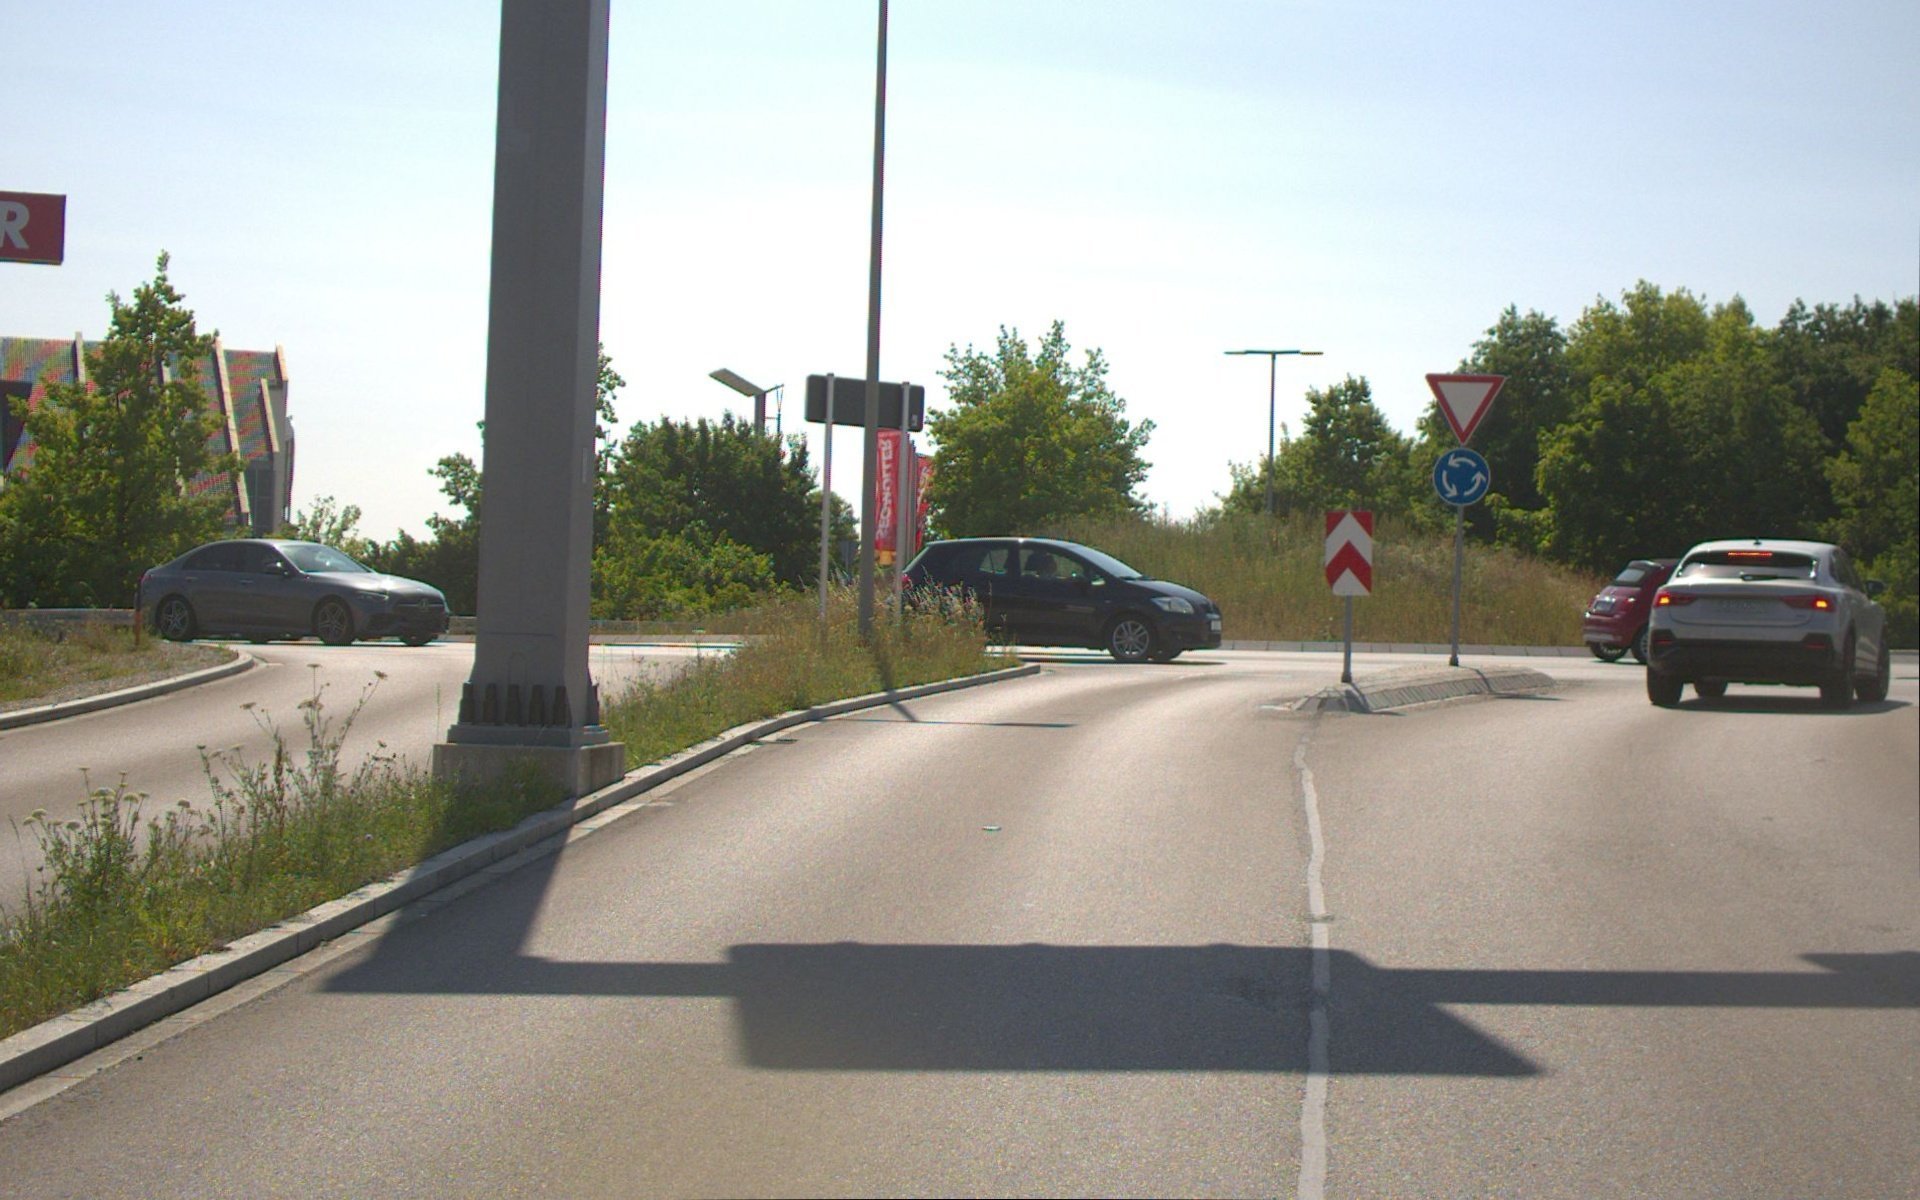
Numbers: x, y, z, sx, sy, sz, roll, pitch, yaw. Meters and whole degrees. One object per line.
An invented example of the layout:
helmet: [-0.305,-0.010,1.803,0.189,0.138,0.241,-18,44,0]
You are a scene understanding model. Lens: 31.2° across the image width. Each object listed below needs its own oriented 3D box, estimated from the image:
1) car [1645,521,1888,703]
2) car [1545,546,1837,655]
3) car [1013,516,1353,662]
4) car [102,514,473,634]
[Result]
car: [7.774,0.103,32.879,1.843,1.590,4.321,1,0,18]
car: [10.508,0.006,49.410,3.804,1.400,1.627,2,0,-23]
car: [2.787,-0.139,42.610,3.951,1.612,1.818,2,0,11]
car: [-9.242,-0.365,47.141,4.866,1.447,1.996,3,0,31]
